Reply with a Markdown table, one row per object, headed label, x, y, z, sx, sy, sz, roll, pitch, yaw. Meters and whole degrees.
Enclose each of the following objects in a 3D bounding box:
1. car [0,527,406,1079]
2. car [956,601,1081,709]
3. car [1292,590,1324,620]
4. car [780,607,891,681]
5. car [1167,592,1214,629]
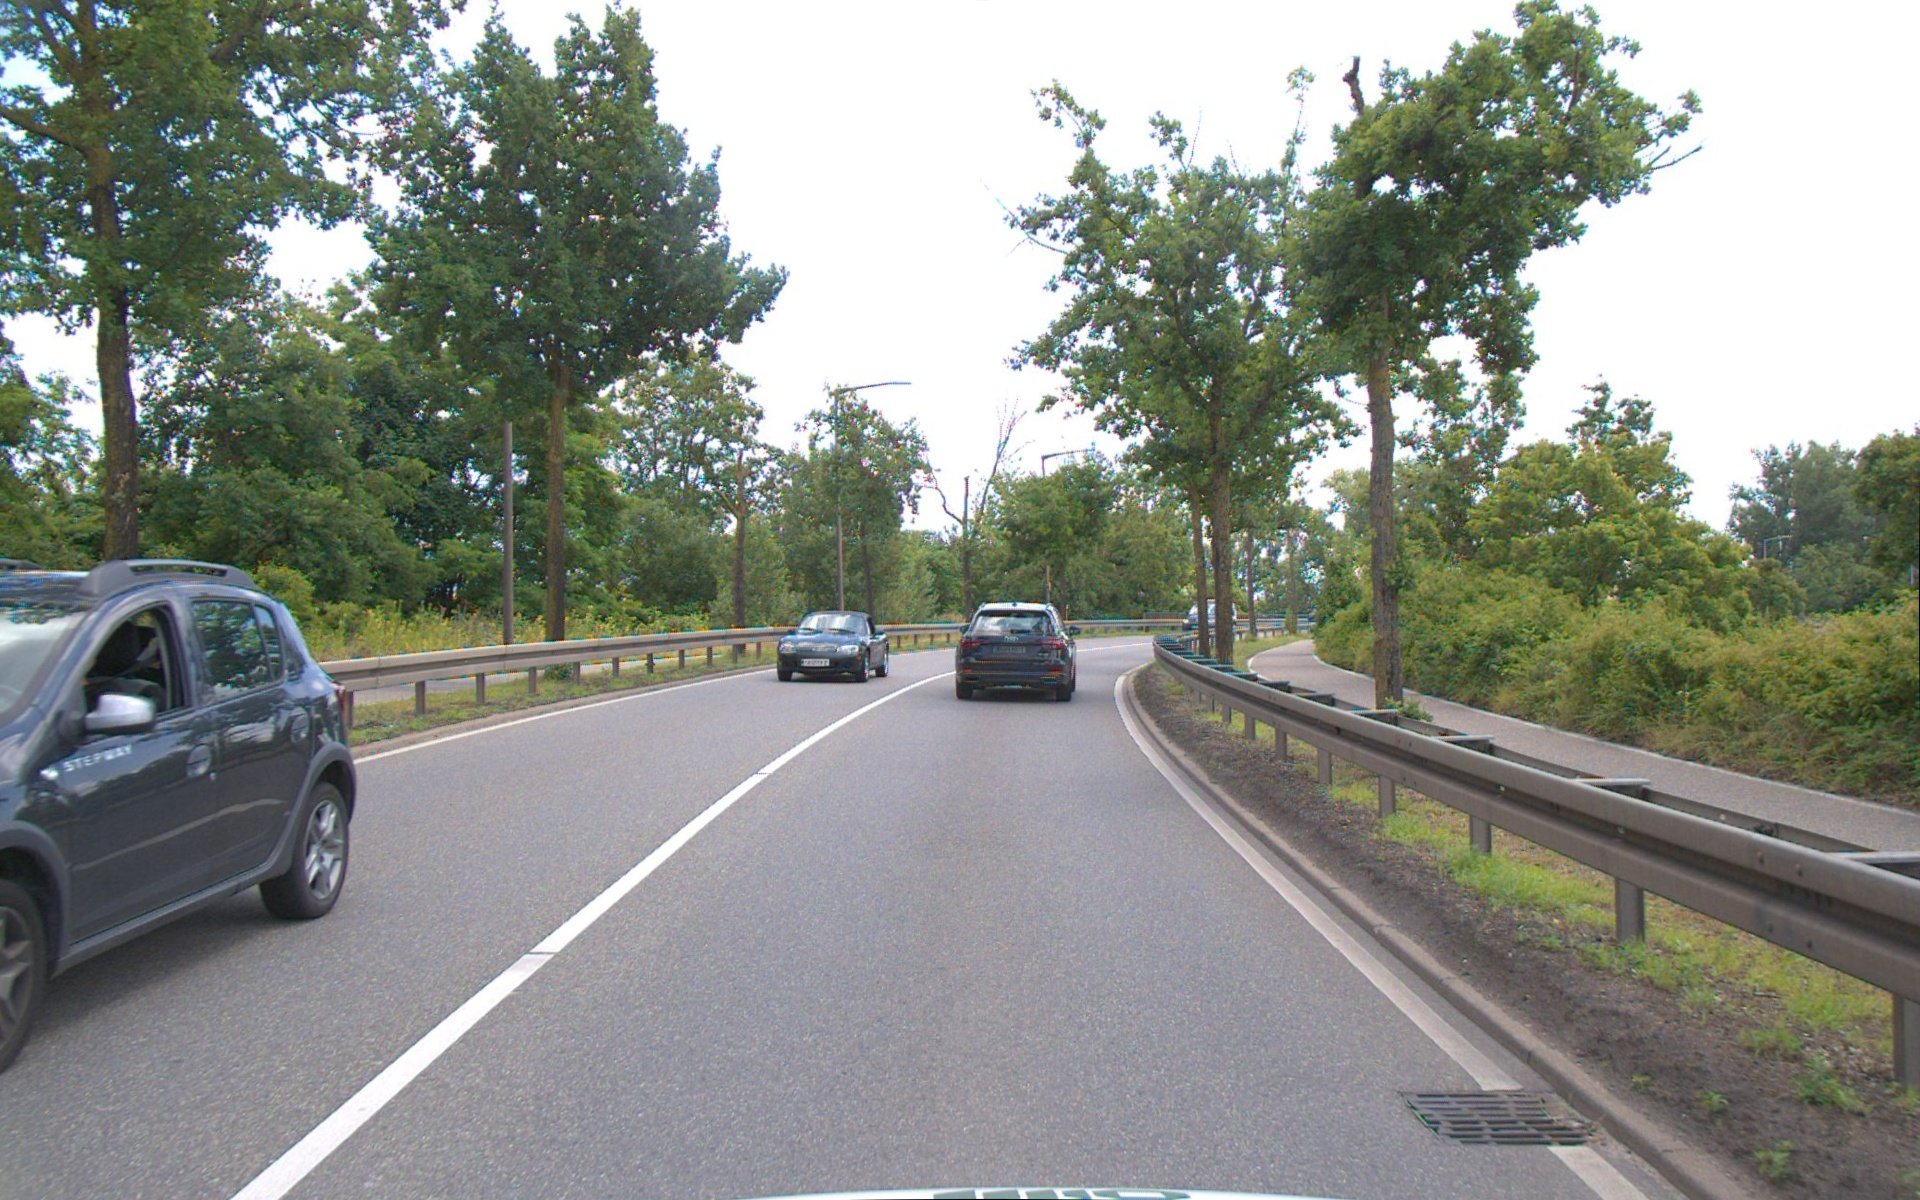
| label | x | y | z | sx | sy | sz | roll | pitch | yaw |
| --- | --- | --- | --- | --- | --- | --- | --- | --- | --- |
| car | -3.692 | 0.589 | 6.224 | 1.744 | 1.635 | 4.158 | 1 | 0 | 1 |
| car | 0.900 | 0.792 | 25.971 | 1.790 | 1.518 | 4.208 | 1 | 0 | 1 |
| car | 18.967 | 0.259 | 90.018 | 1.545 | 1.546 | 4.003 | -1 | 0 | 14 |
| car | -2.224 | 0.759 | 30.410 | 1.559 | 1.239 | 3.792 | 1 | 0 | 3 |
| car | 11.395 | 0.520 | 81.658 | 1.813 | 1.739 | 4.315 | 1 | 0 | 14 |
